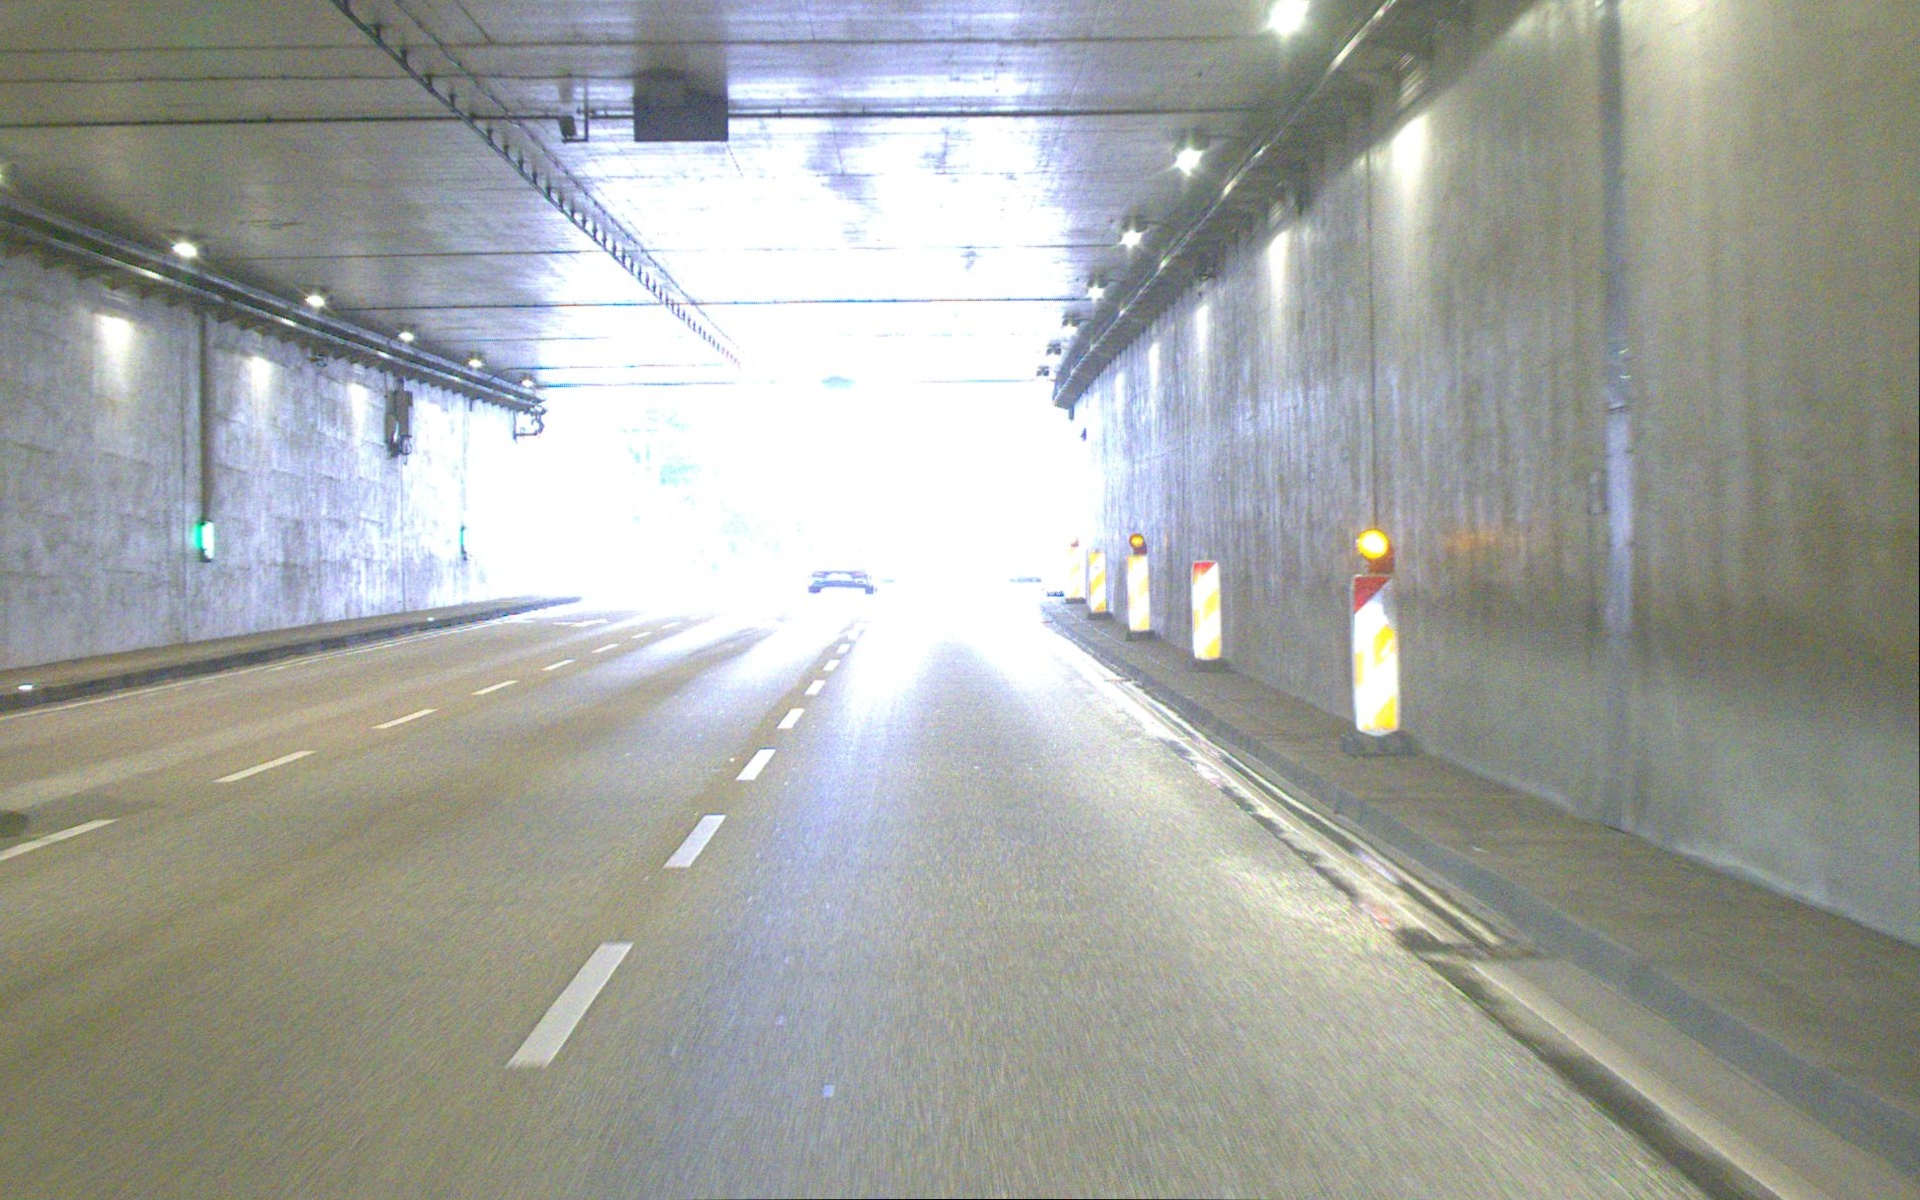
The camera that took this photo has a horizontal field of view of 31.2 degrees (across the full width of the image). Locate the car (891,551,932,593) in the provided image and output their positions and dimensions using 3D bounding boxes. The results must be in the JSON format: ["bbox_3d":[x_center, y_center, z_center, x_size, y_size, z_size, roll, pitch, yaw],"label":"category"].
[{"bbox_3d":[-2.424,-1.357,170.434,1.993,2.007,4.000,1,0,-1],"label":"car"}]

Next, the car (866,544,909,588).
[{"bbox_3d":[-3.411,-1.584,162.146,1.993,2.007,4.000,1,0,-1],"label":"car"}]

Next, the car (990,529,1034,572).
[{"bbox_3d":[2.519,-2.379,166.249,1.993,2.007,4.000,1,0,0],"label":"car"}]

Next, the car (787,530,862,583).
[{"bbox_3d":[-3.801,-1.227,95.648,1.993,1.443,4.315,0,1,-3],"label":"car"}]
